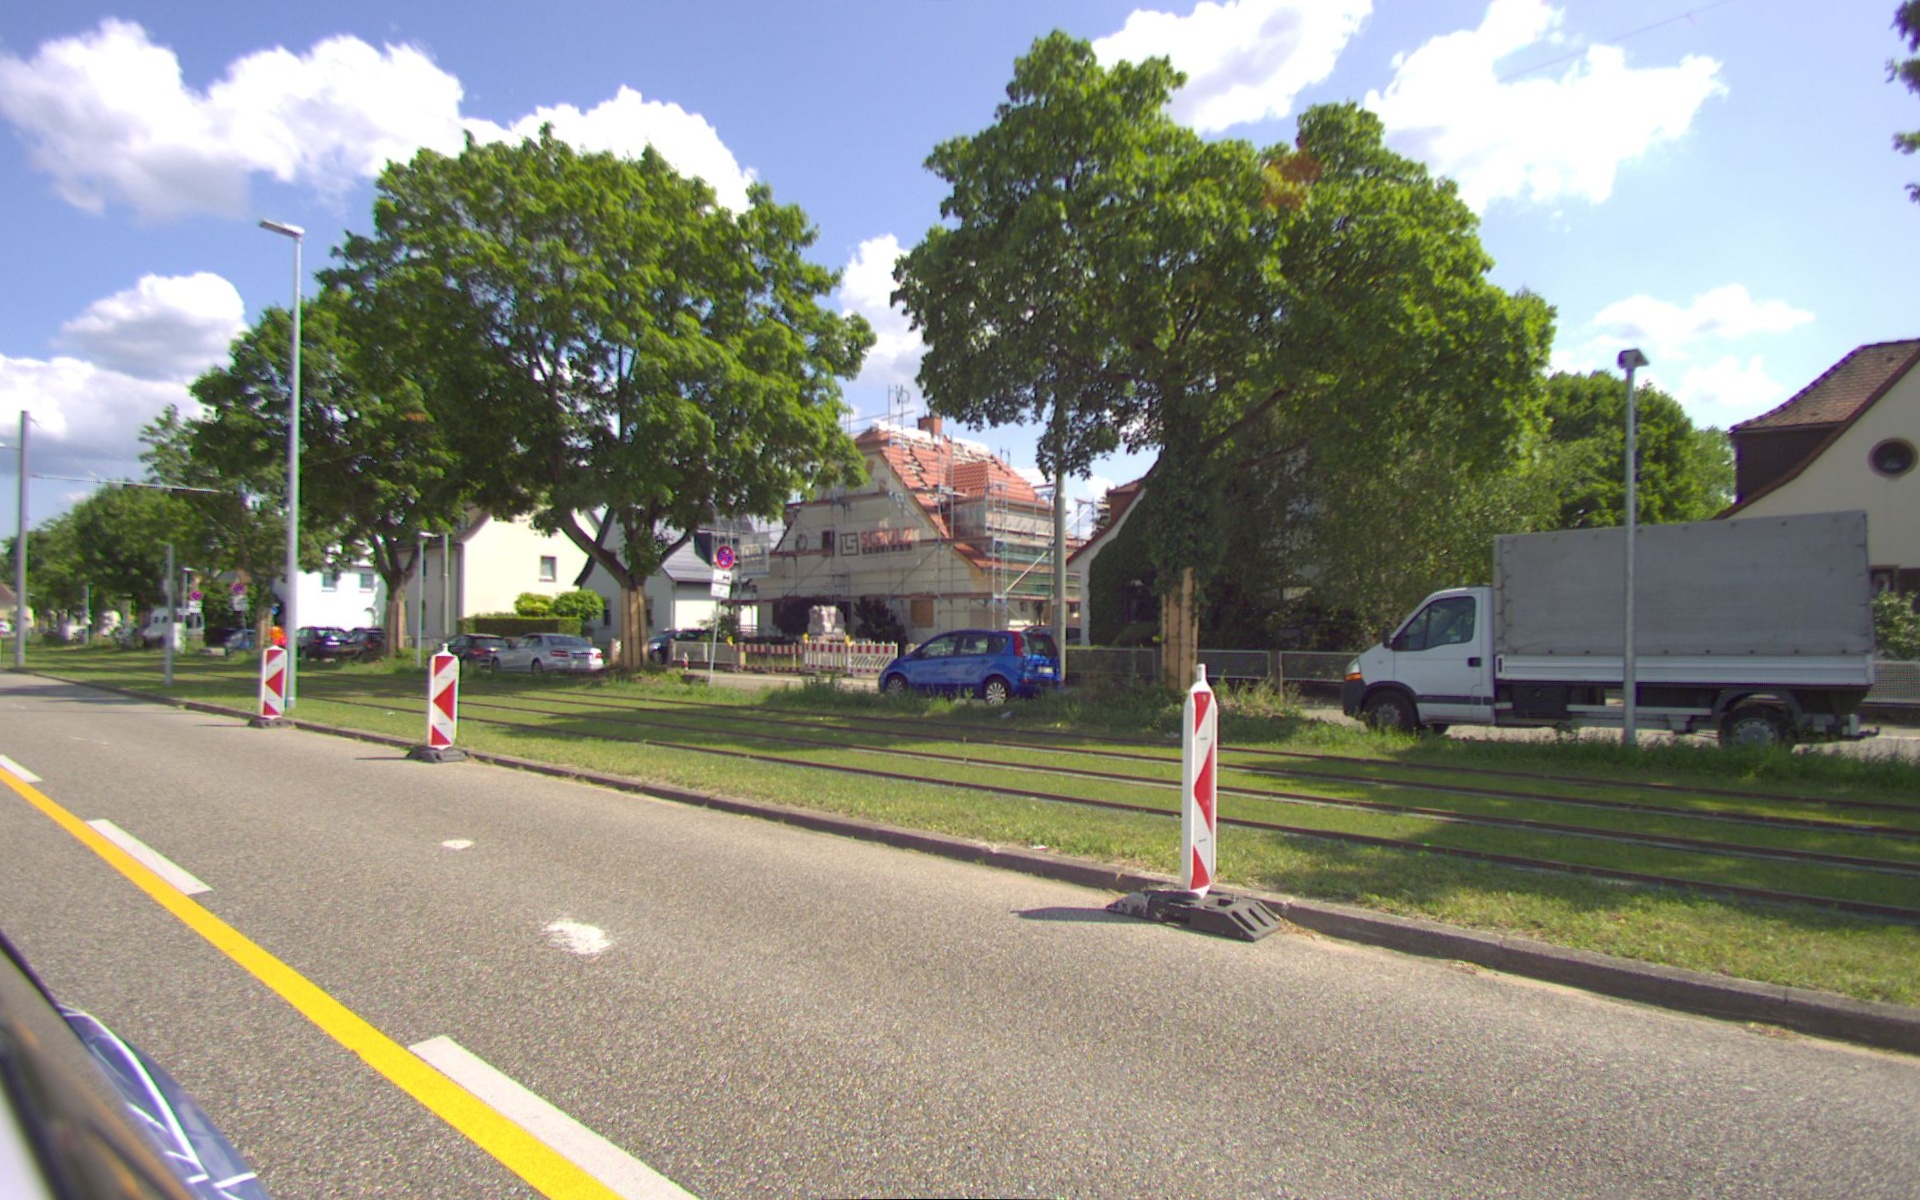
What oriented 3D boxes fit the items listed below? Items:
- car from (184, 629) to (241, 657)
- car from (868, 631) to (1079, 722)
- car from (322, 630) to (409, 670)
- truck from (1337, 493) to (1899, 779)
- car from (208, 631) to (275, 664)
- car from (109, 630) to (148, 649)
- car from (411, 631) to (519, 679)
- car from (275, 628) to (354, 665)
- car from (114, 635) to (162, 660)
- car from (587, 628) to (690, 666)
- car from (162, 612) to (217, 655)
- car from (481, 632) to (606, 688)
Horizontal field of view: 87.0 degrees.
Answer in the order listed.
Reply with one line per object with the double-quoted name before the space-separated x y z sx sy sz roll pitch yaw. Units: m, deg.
"car" -44.636 2.550 60.405 4.603 1.623 1.733 -2 -3 40
"car" 0.210 1.443 20.172 4.047 1.623 1.733 -2 -3 40
"car" -25.175 2.072 42.827 4.603 1.623 1.733 -2 -3 40
"truck" 8.282 0.466 13.354 5.871 3.010 1.982 -2 -3 41
"car" -37.636 2.466 52.980 4.603 1.623 1.733 -2 -3 40
"car" -70.192 3.325 85.402 4.603 1.623 1.733 -2 -3 40
"car" -17.606 1.914 35.931 4.603 1.623 1.733 -2 -3 40
"car" -29.594 2.097 46.331 4.603 1.623 1.733 -2 -3 40
"car" -57.013 3.264 70.151 4.603 1.623 1.733 -2 -3 40
"car" -14.074 2.046 44.507 1.756 1.623 3.995 -2 -3 41
"car" -48.825 2.104 64.099 4.603 2.636 1.733 -2 -3 40
"car" -13.165 1.830 31.860 4.603 1.623 1.733 -2 -3 40
